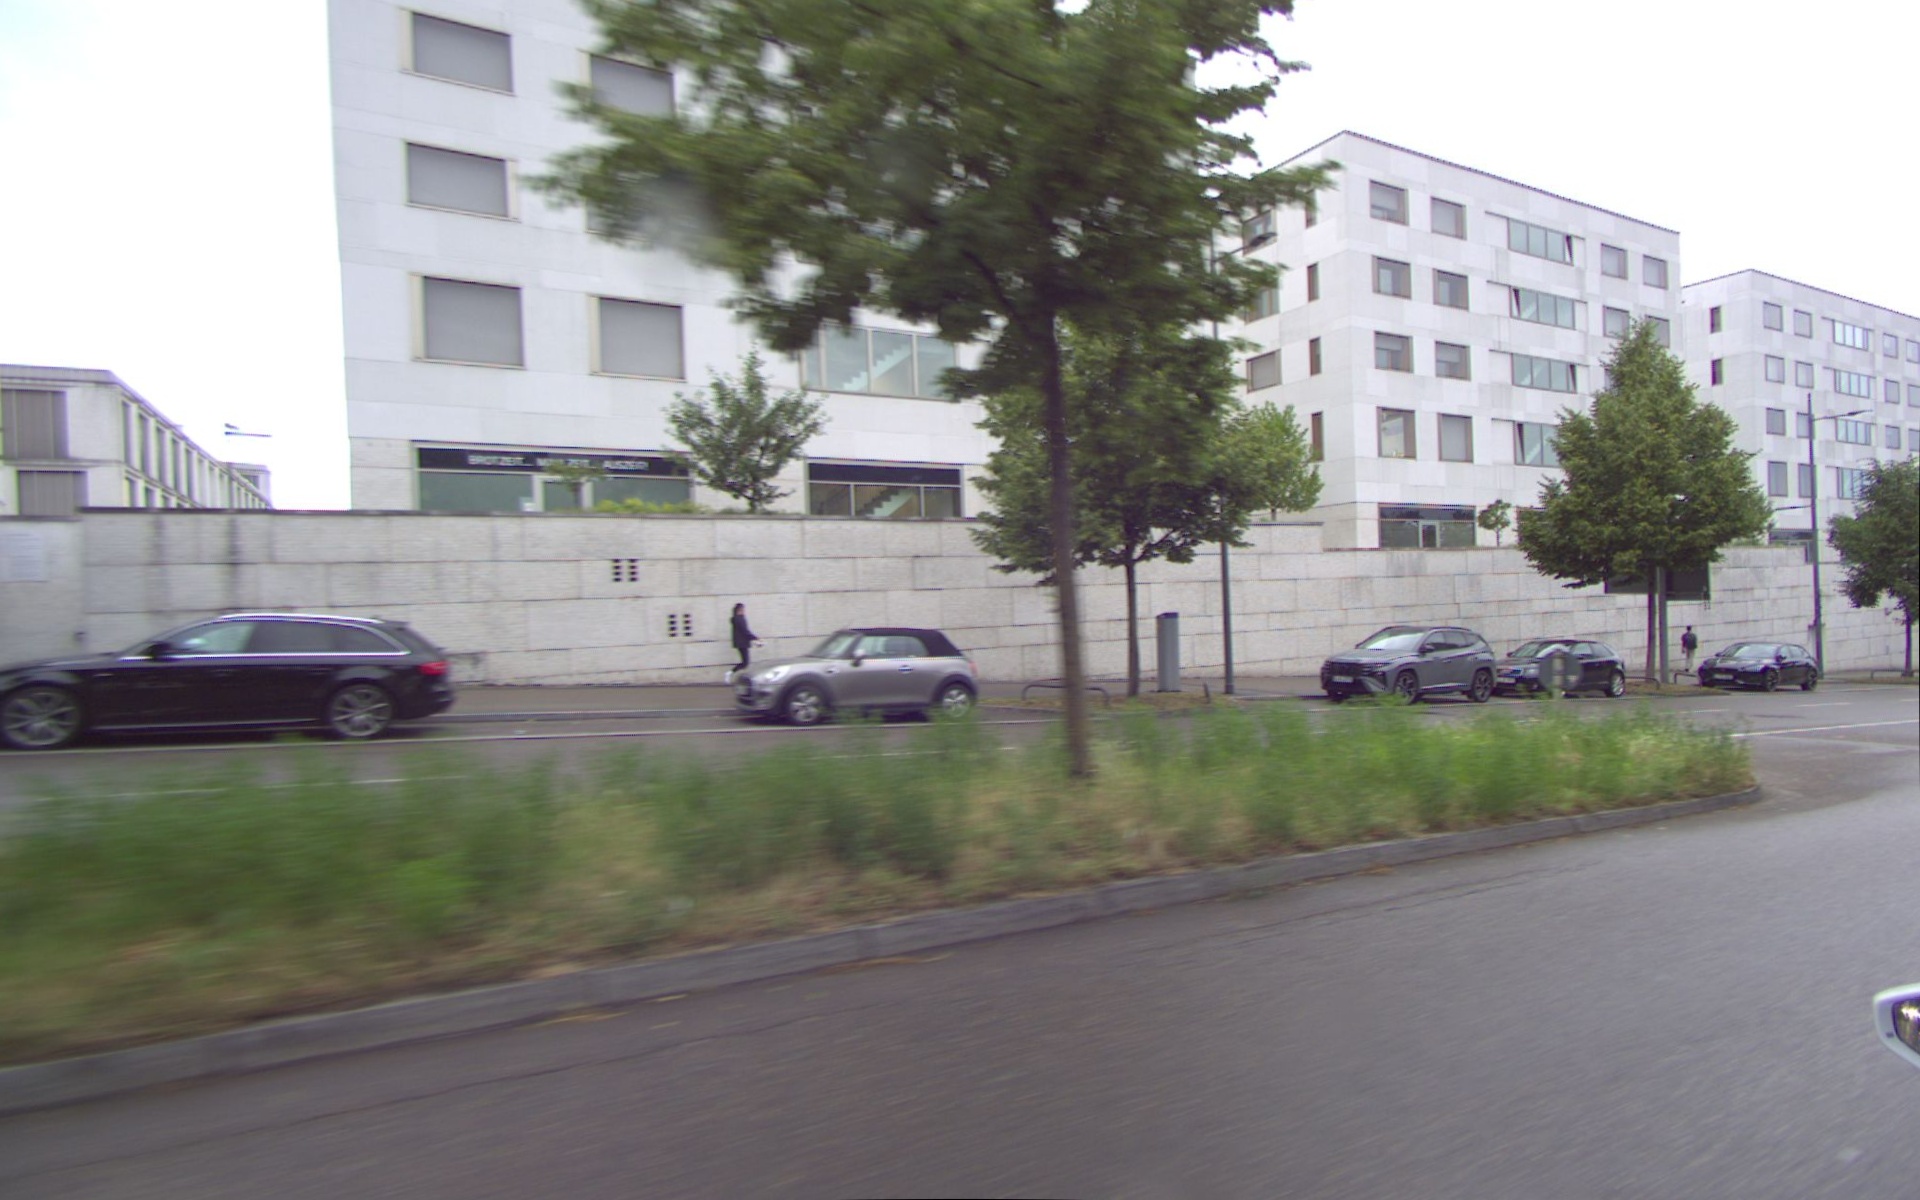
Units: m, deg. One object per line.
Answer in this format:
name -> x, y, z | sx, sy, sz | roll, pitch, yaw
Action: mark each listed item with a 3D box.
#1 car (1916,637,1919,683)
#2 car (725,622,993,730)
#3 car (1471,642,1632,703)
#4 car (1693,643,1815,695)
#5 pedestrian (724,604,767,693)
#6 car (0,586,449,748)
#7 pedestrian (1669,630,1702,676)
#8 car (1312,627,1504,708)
car -> 40.286, 2.420, 40.206 | 4.545, 1.804, 1.847 | 2, -2, -32
car -> -1.554, 1.109, 15.659 | 3.812, 1.463, 1.687 | 1, 0, -29
car -> 14.931, 1.774, 25.329 | 4.112, 1.378, 1.688 | 1, -1, -29
car -> 24.218, 2.073, 30.601 | 3.920, 1.445, 1.670 | 2, -1, -31
pedestrian -> -4.441, 0.979, 20.760 | 0.683, 1.798, 0.715 | 0, 0, -30
car -> -8.231, 0.759, 11.682 | 3.970, 1.602, 1.687 | 3, -1, -30
pedestrian -> 29.112, 2.108, 40.311 | 1.009, 1.798, 0.704 | 1, -2, -30
car -> 10.003, 1.474, 22.339 | 4.311, 1.641, 1.695 | 2, -2, -30
